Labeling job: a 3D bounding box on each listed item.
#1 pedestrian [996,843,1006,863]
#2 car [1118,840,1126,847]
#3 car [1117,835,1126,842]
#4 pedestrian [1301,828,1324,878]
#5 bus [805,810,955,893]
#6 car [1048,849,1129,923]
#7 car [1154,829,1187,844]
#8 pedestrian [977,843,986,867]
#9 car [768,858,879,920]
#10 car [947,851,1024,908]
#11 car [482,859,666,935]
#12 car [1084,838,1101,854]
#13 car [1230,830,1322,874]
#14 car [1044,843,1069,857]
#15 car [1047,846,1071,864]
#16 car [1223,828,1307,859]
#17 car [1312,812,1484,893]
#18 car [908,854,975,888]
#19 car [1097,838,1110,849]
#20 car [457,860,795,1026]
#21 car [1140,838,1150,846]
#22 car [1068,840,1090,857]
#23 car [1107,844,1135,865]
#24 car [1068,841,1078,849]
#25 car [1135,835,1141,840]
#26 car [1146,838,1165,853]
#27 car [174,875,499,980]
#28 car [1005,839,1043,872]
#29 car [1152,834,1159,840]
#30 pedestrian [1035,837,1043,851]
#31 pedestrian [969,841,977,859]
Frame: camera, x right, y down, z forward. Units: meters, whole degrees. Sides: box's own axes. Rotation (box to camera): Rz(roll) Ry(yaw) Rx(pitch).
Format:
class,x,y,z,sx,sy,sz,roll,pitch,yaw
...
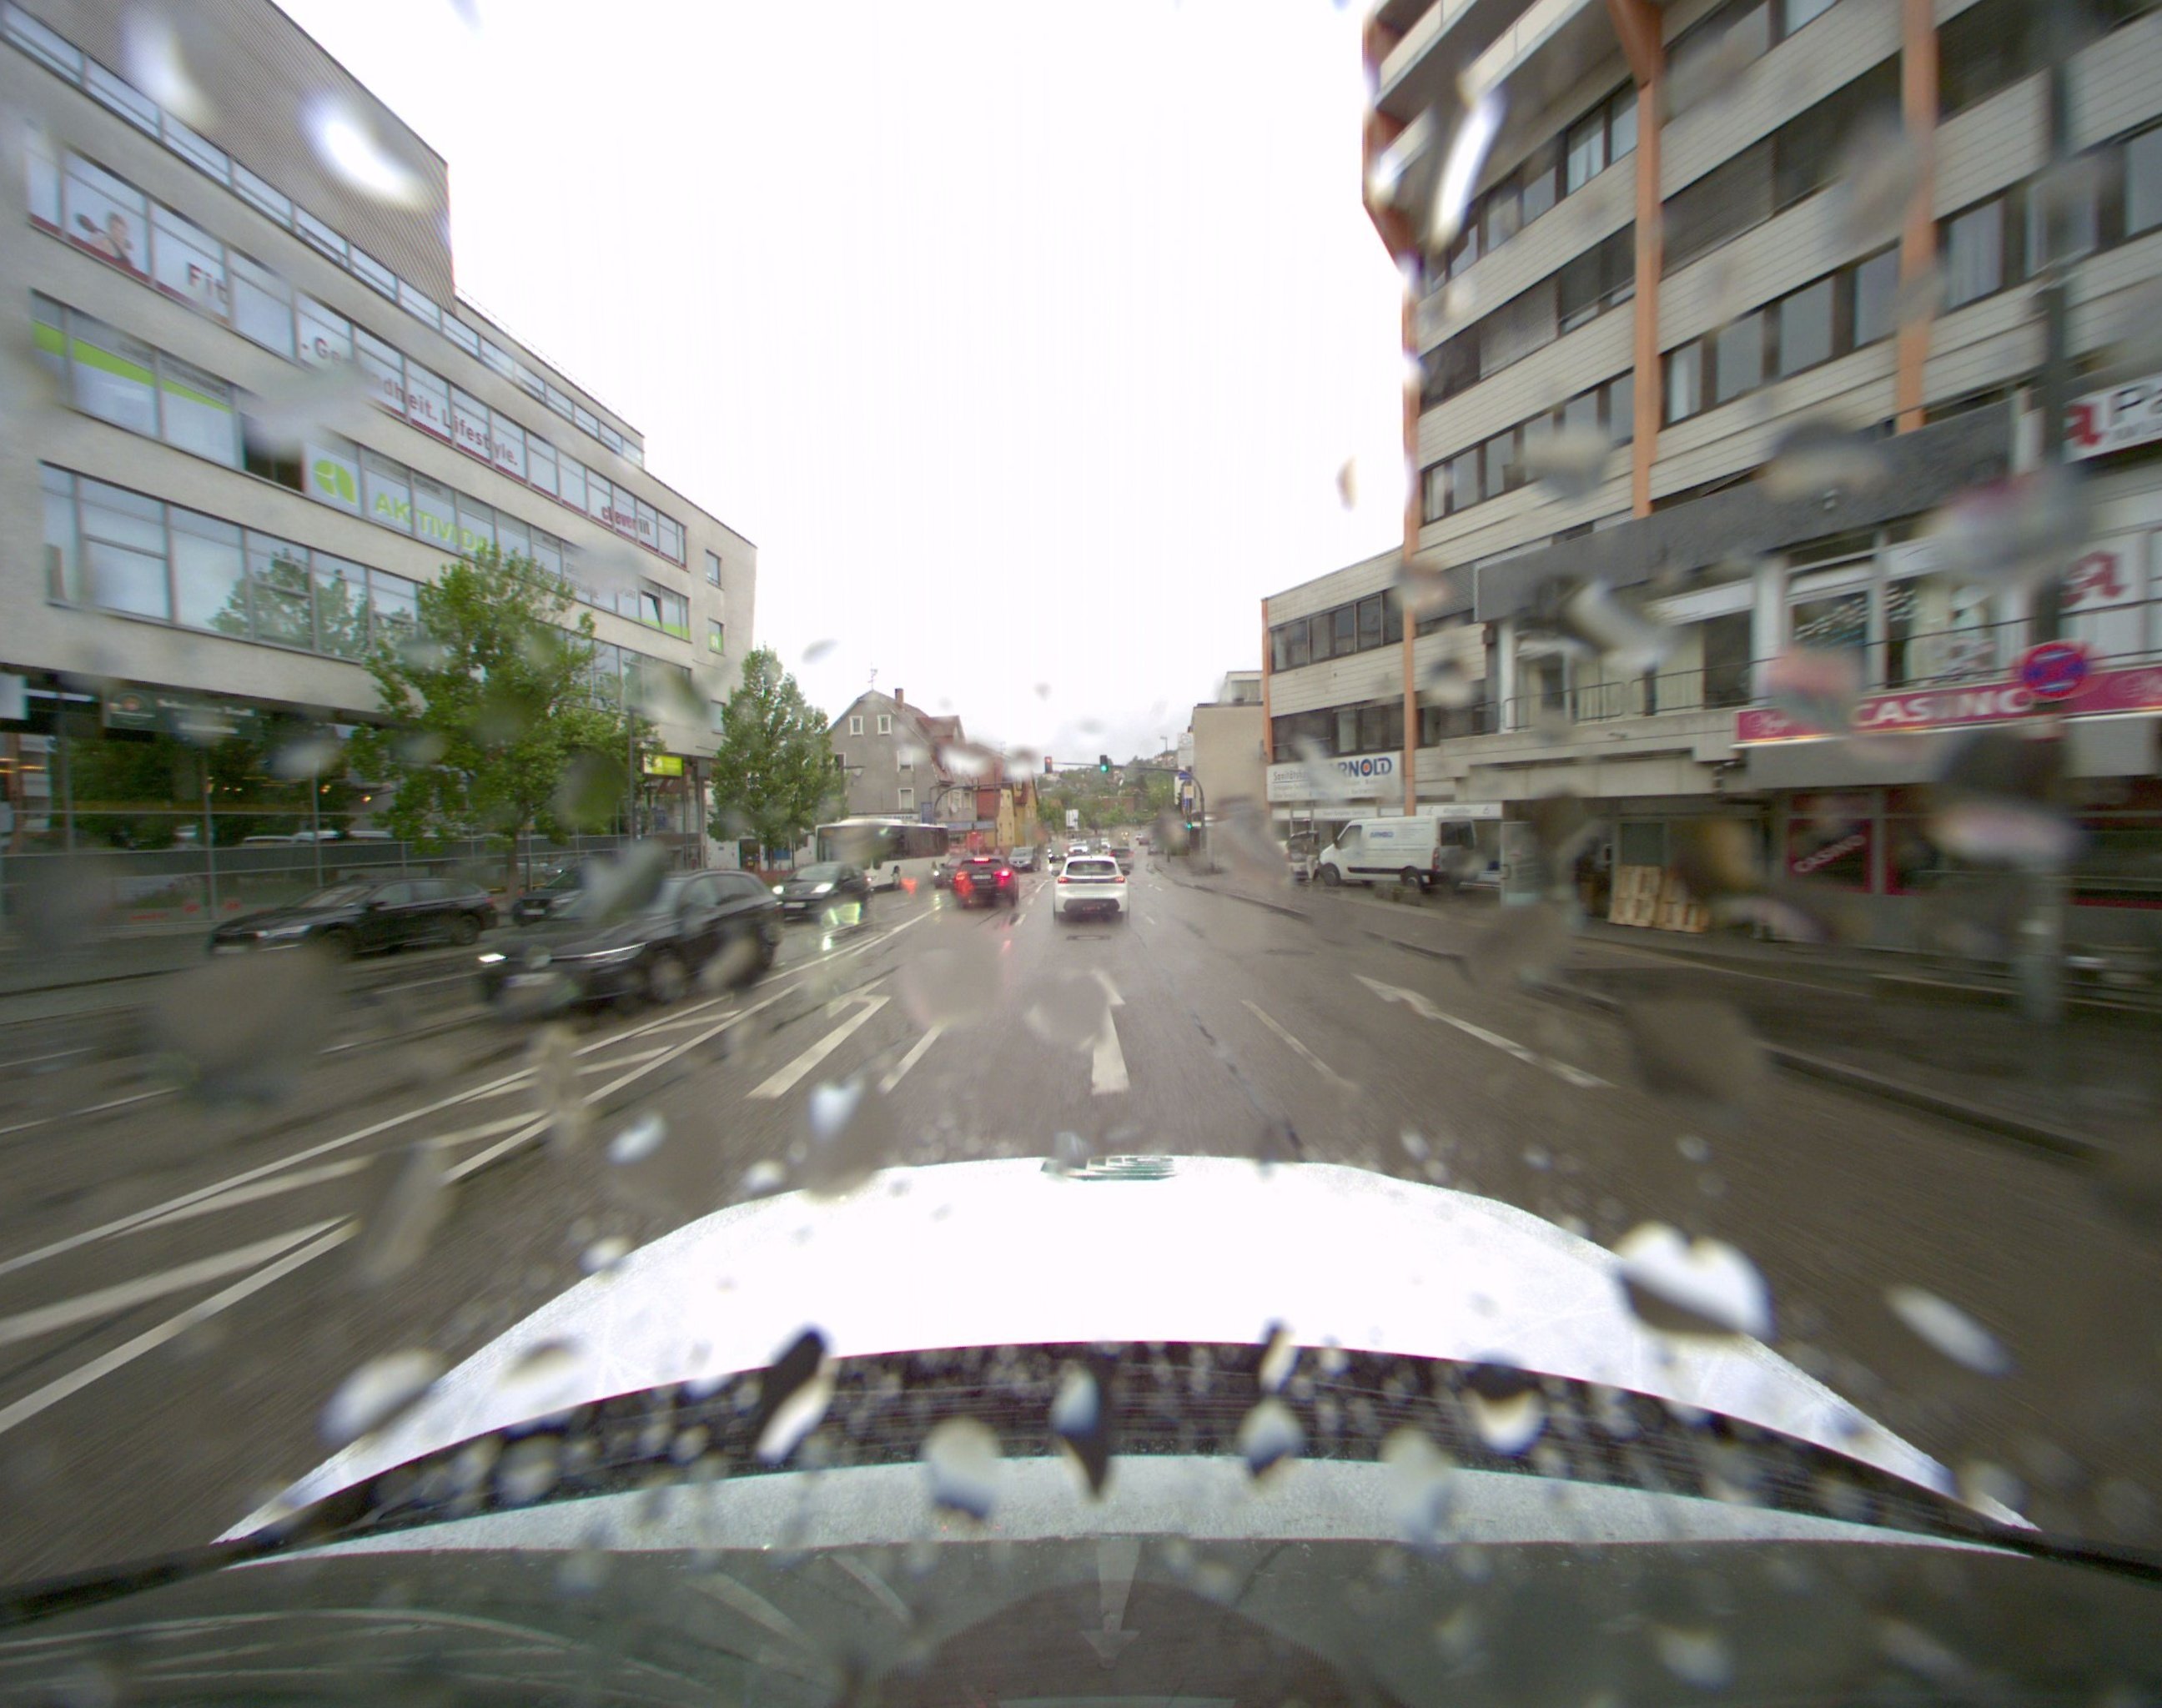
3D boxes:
class,x,y,z,sx,sy,sz,roll,pitch,yaw
pedestrian,-5.952,-0.076,60.472,0.576,1.394,0.561,-3,0,2
car,6.706,-1.699,133.374,1.208,1.155,2.272,-2,1,3
car,9.100,-3.487,184.000,1.760,1.413,4.532,-3,1,5
pedestrian,8.390,-0.044,29.528,0.591,1.766,0.600,-3,2,-2
bus,-8.779,-0.181,37.690,2.878,3.099,12.016,-3,1,5
car,0.227,0.669,19.484,1.684,1.519,3.934,-2,0,2
car,16.554,-3.233,150.885,6.663,2.381,2.270,-3,1,-44
pedestrian,-8.183,0.071,67.038,0.659,1.921,0.946,0,0,-3
car,-6.647,0.856,21.339,1.558,1.375,3.286,-3,0,5
car,-2.733,0.674,24.103,1.710,1.450,4.198,-3,1,0
car,-12.759,1.005,20.853,1.985,1.596,4.003,-3,1,3
car,1.566,-1.101,109.363,1.957,1.938,5.184,-3,1,3
car,7.387,-0.054,31.156,1.619,1.461,3.396,-5,1,-24
car,-2.879,-0.495,96.812,1.990,1.617,4.960,-3,1,8
car,-1.985,0.082,74.007,1.751,1.434,4.384,-3,1,3
car,10.228,-0.589,45.214,4.411,1.411,1.721,-4,2,-28
car,9.883,-0.166,25.772,2.014,2.208,4.828,-6,5,-31
car,-6.068,0.721,35.870,1.888,1.256,4.199,-3,1,4
car,3.670,-1.708,131.279,1.869,1.609,4.725,-2,1,5
car,-5.353,0.914,10.390,1.701,1.517,4.393,-3,1,1
car,11.650,-2.157,148.377,1.726,1.388,3.356,-1,1,4
car,-0.176,-0.650,91.688,2.090,1.712,4.853,-3,1,3
car,2.704,0.012,55.442,1.736,1.295,3.334,-3,2,0
car,-1.363,-1.522,138.242,1.365,1.313,3.044,-3,1,3
car,13.579,-3.896,193.842,1.378,1.126,2.614,-3,1,5
car,8.786,-1.014,95.984,2.003,1.622,4.364,-1,0,3
car,-13.627,1.252,15.389,1.818,1.447,4.479,-3,1,3
car,-3.691,0.047,53.394,1.625,2.013,4.292,-3,1,6
car,18.082,-4.184,197.973,1.640,1.484,3.371,-3,1,5
pedestrian,-5.226,-1.237,101.653,0.796,1.788,0.884,-3,0,7
pedestrian,-9.655,-0.347,72.935,0.540,1.557,0.447,-2,1,5
